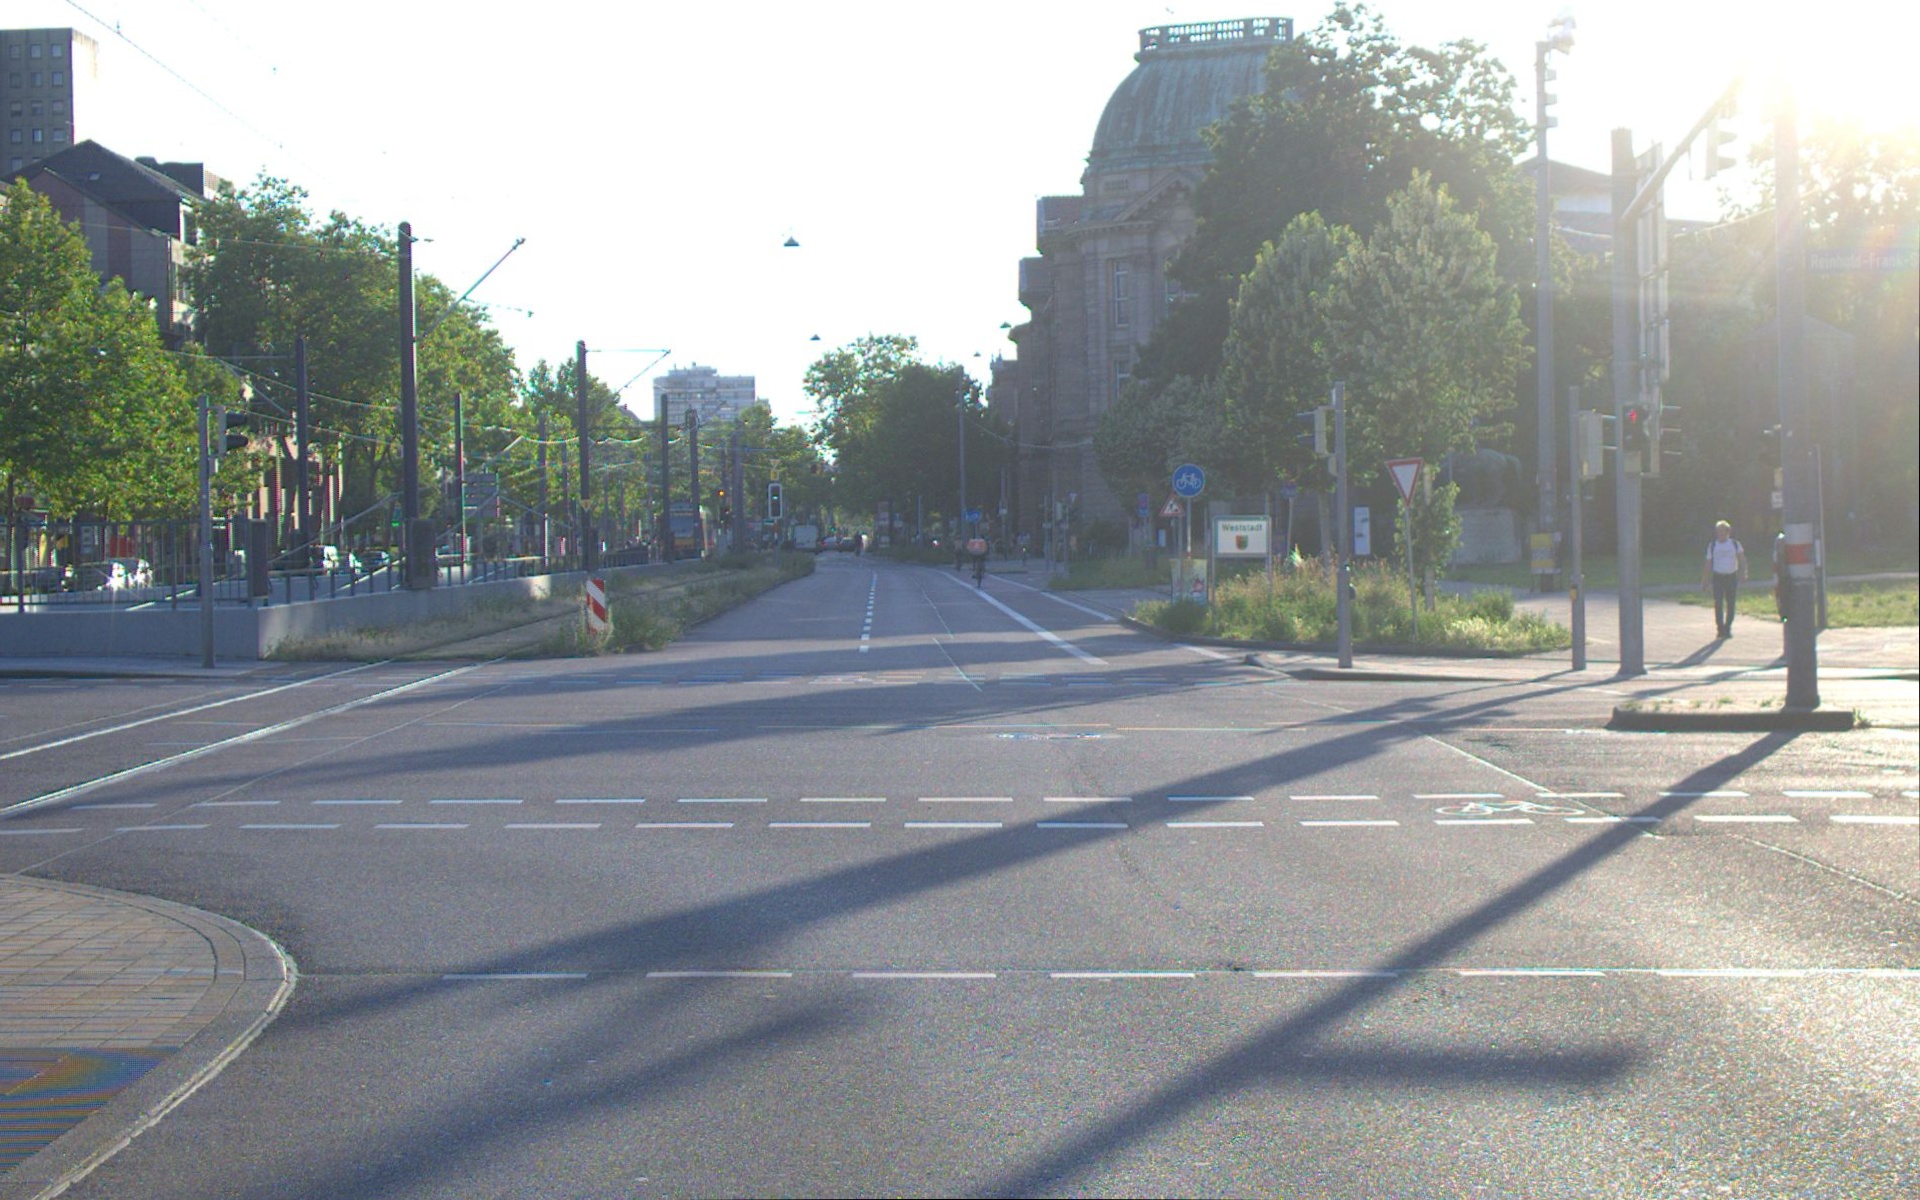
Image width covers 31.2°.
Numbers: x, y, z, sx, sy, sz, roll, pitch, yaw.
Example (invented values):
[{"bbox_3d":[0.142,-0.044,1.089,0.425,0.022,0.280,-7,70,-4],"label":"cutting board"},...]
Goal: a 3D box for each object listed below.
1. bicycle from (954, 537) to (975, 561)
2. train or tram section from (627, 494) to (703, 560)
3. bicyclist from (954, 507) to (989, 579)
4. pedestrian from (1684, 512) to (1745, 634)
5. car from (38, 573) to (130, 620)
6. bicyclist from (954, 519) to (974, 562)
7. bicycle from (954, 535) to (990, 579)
[{"bbox_3d":[0.215,-2.425,163.818,0.924,1.108,2.333,-1,1,-1],"label":"bicycle"},{"bbox_3d":[-17.980,-4.448,209.872,4.385,3.837,11.412,-1,1,-5],"label":"train or tram section"},{"bbox_3d":[0.363,-1.831,110.155,1.082,2.268,0.986,-1,1,-1],"label":"bicyclist"},{"bbox_3d":[11.294,-0.409,51.476,0.833,1.797,0.810,-1,1,15],"label":"pedestrian"},{"bbox_3d":[-28.812,-0.132,113.186,1.819,1.415,4.000,-1,1,3],"label":"car"},{"bbox_3d":[0.180,-2.837,163.786,0.925,2.007,0.850,-1,1,-1],"label":"bicyclist"},{"bbox_3d":[0.368,-1.388,110.179,1.098,1.394,2.832,-1,1,-1],"label":"bicycle"}]
